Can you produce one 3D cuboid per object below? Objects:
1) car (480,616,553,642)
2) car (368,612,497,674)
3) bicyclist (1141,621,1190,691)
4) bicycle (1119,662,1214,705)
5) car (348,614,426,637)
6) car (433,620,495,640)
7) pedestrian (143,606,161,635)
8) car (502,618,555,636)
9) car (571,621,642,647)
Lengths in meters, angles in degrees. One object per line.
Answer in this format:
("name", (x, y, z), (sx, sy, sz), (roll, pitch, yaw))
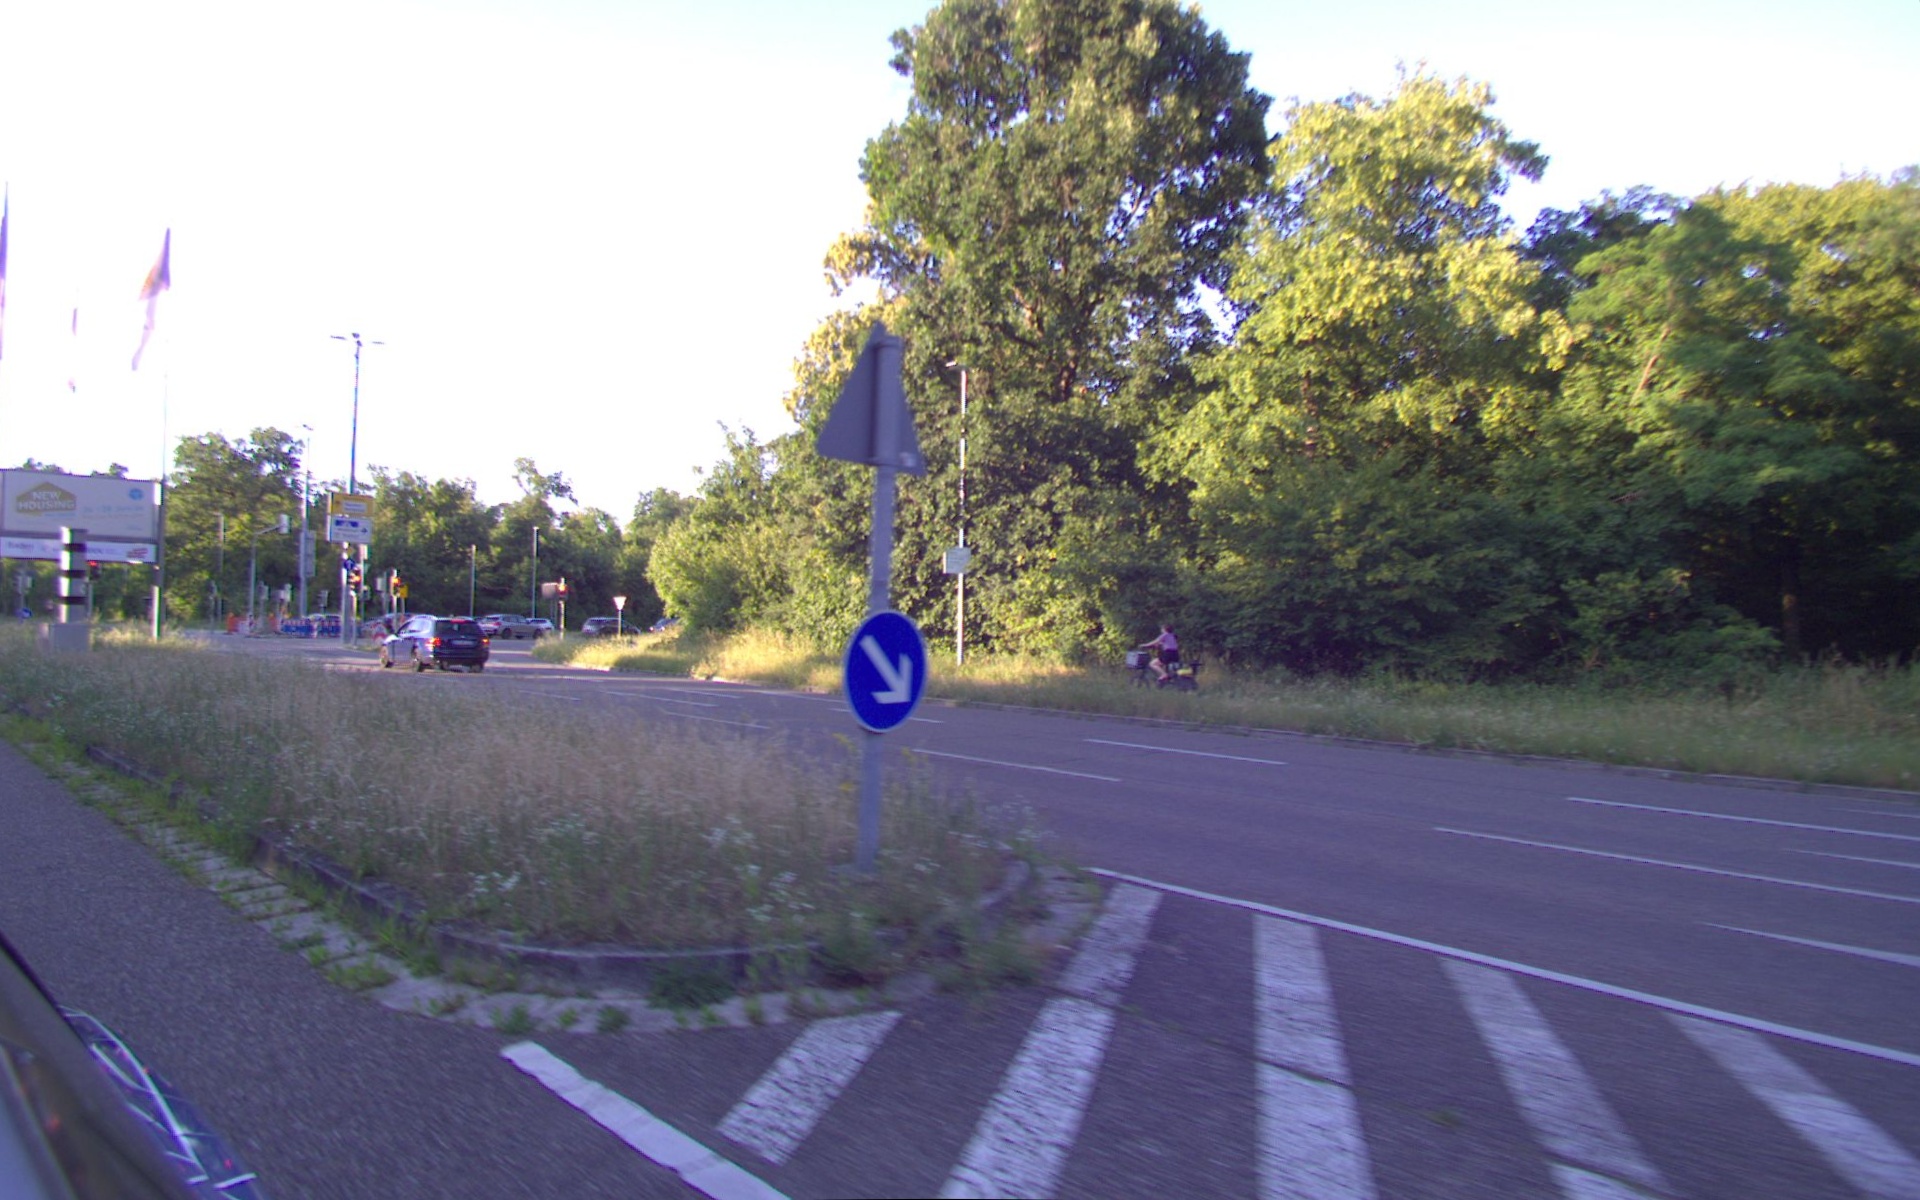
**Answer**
("car", (-29.634, 1.910, 67.794), (1.985, 1.636, 4.366), (0, -1, 20))
("car", (-14.579, 1.146, 27.856), (4.457, 1.545, 1.798), (0, -3, 45))
("bicyclist", (4.329, 1.164, 21.329), (0.822, 1.440, 0.579), (-1, -2, 44))
("bicycle", (4.358, 1.752, 21.462), (1.959, 0.810, 0.579), (0, -2, 44))
("car", (-37.250, 1.671, 65.931), (1.712, 1.467, 4.197), (0, -1, 25))
("car", (-38.548, 2.339, 78.741), (1.712, 1.467, 4.197), (0, -1, 25))
("pedestrian", (-51.173, 1.306, 64.100), (0.574, 1.814, 0.741), (-1, -1, 33))
("car", (-37.760, 2.352, 88.709), (1.712, 1.467, 4.197), (0, -1, 25))
("car", (-25.196, 2.433, 72.369), (2.001, 1.674, 4.780), (2, 0, 25))
